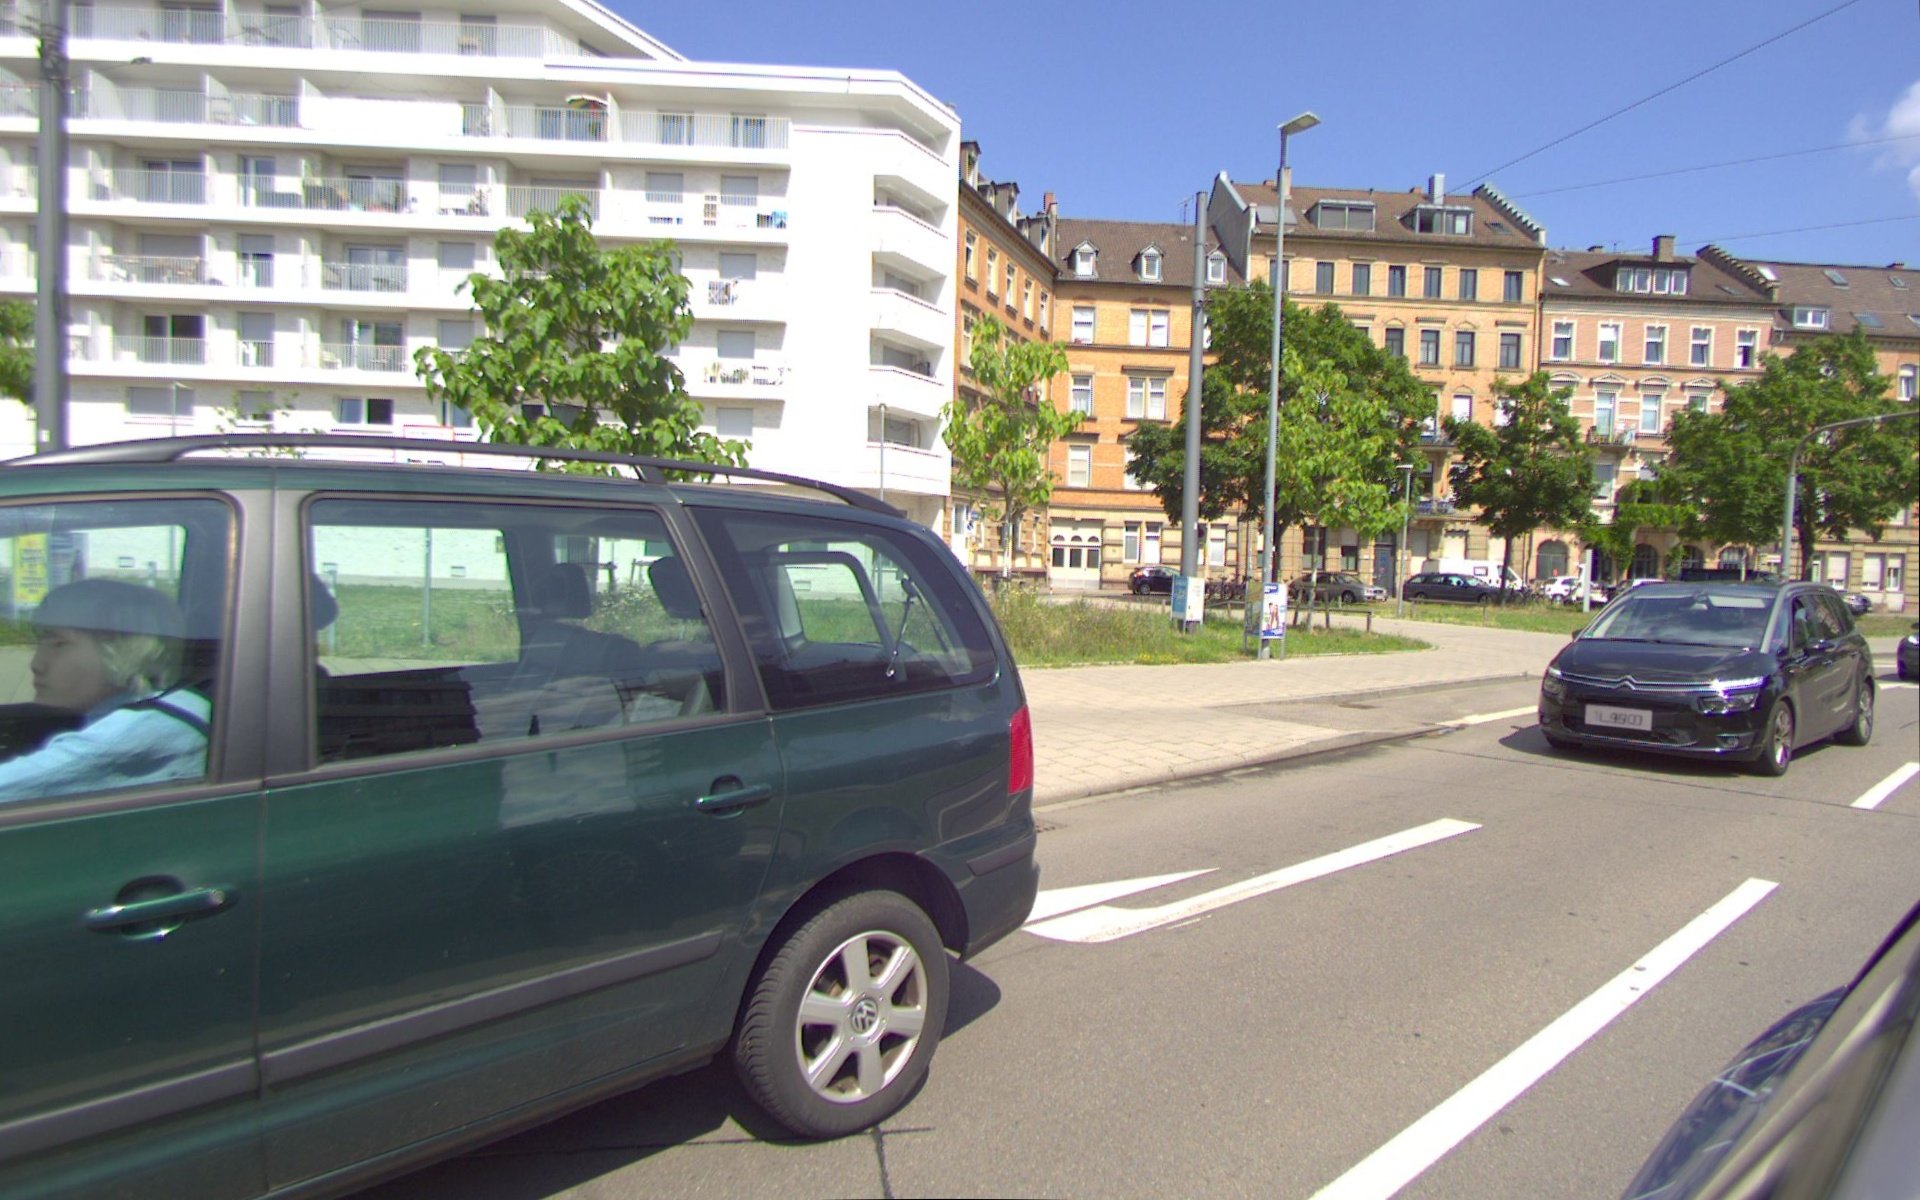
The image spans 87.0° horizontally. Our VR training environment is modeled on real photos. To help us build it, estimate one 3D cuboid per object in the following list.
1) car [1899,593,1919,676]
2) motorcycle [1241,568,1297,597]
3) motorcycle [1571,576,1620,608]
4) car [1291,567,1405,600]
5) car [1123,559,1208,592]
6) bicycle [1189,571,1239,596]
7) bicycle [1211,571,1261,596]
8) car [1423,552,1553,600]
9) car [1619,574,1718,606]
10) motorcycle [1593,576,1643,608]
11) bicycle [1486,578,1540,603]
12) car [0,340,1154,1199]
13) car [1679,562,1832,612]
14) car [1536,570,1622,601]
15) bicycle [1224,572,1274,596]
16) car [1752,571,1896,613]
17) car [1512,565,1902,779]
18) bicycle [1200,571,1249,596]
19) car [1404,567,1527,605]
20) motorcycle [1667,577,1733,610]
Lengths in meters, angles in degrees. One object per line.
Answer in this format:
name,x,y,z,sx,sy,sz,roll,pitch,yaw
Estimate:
car,18.550,0.617,17.871,4.229,1.411,1.917,0,1,-33
motorcycle,12.827,-0.728,42.112,0.796,1.139,2.396,1,1,-25
motorcycle,24.659,-0.342,39.307,0.627,1.181,1.791,1,2,-3
car,15.657,-0.688,41.059,1.825,1.260,4.172,1,1,-26
car,10.049,-1.197,49.750,3.779,1.510,1.665,1,1,-1
bicycle,10.261,-0.684,41.002,0.532,0.981,2.396,1,1,-25
bicycle,11.285,-0.672,41.491,0.532,0.981,2.396,1,1,-25
car,26.196,-1.180,50.312,5.290,2.206,2.118,1,1,-1
car,35.590,-0.492,50.910,3.779,1.510,1.665,1,1,-1
motorcycle,25.557,-0.329,39.341,0.627,1.181,1.791,1,2,-3
bicycle,21.012,-0.355,38.479,1.784,0.912,0.544,1,0,-5
car,-1.803,0.475,2.448,4.944,1.778,1.822,0,1,-42
car,33.113,-0.559,42.262,1.879,1.951,4.633,1,1,-32
car,30.963,-0.752,50.677,3.288,1.420,1.569,1,2,1
bicycle,11.905,-0.659,41.778,0.532,0.968,2.396,1,1,-25
car,36.087,-0.367,42.391,1.877,1.677,4.181,1,1,-28
car,7.291,0.531,9.757,4.111,1.639,1.877,0,1,-36
bicycle,10.763,-0.678,41.251,0.532,0.981,2.396,1,1,-25
car,20.831,-0.607,41.862,1.769,1.445,4.265,0,2,-31
motorcycle,28.276,-0.250,38.692,1.876,1.181,0.638,2,1,11
